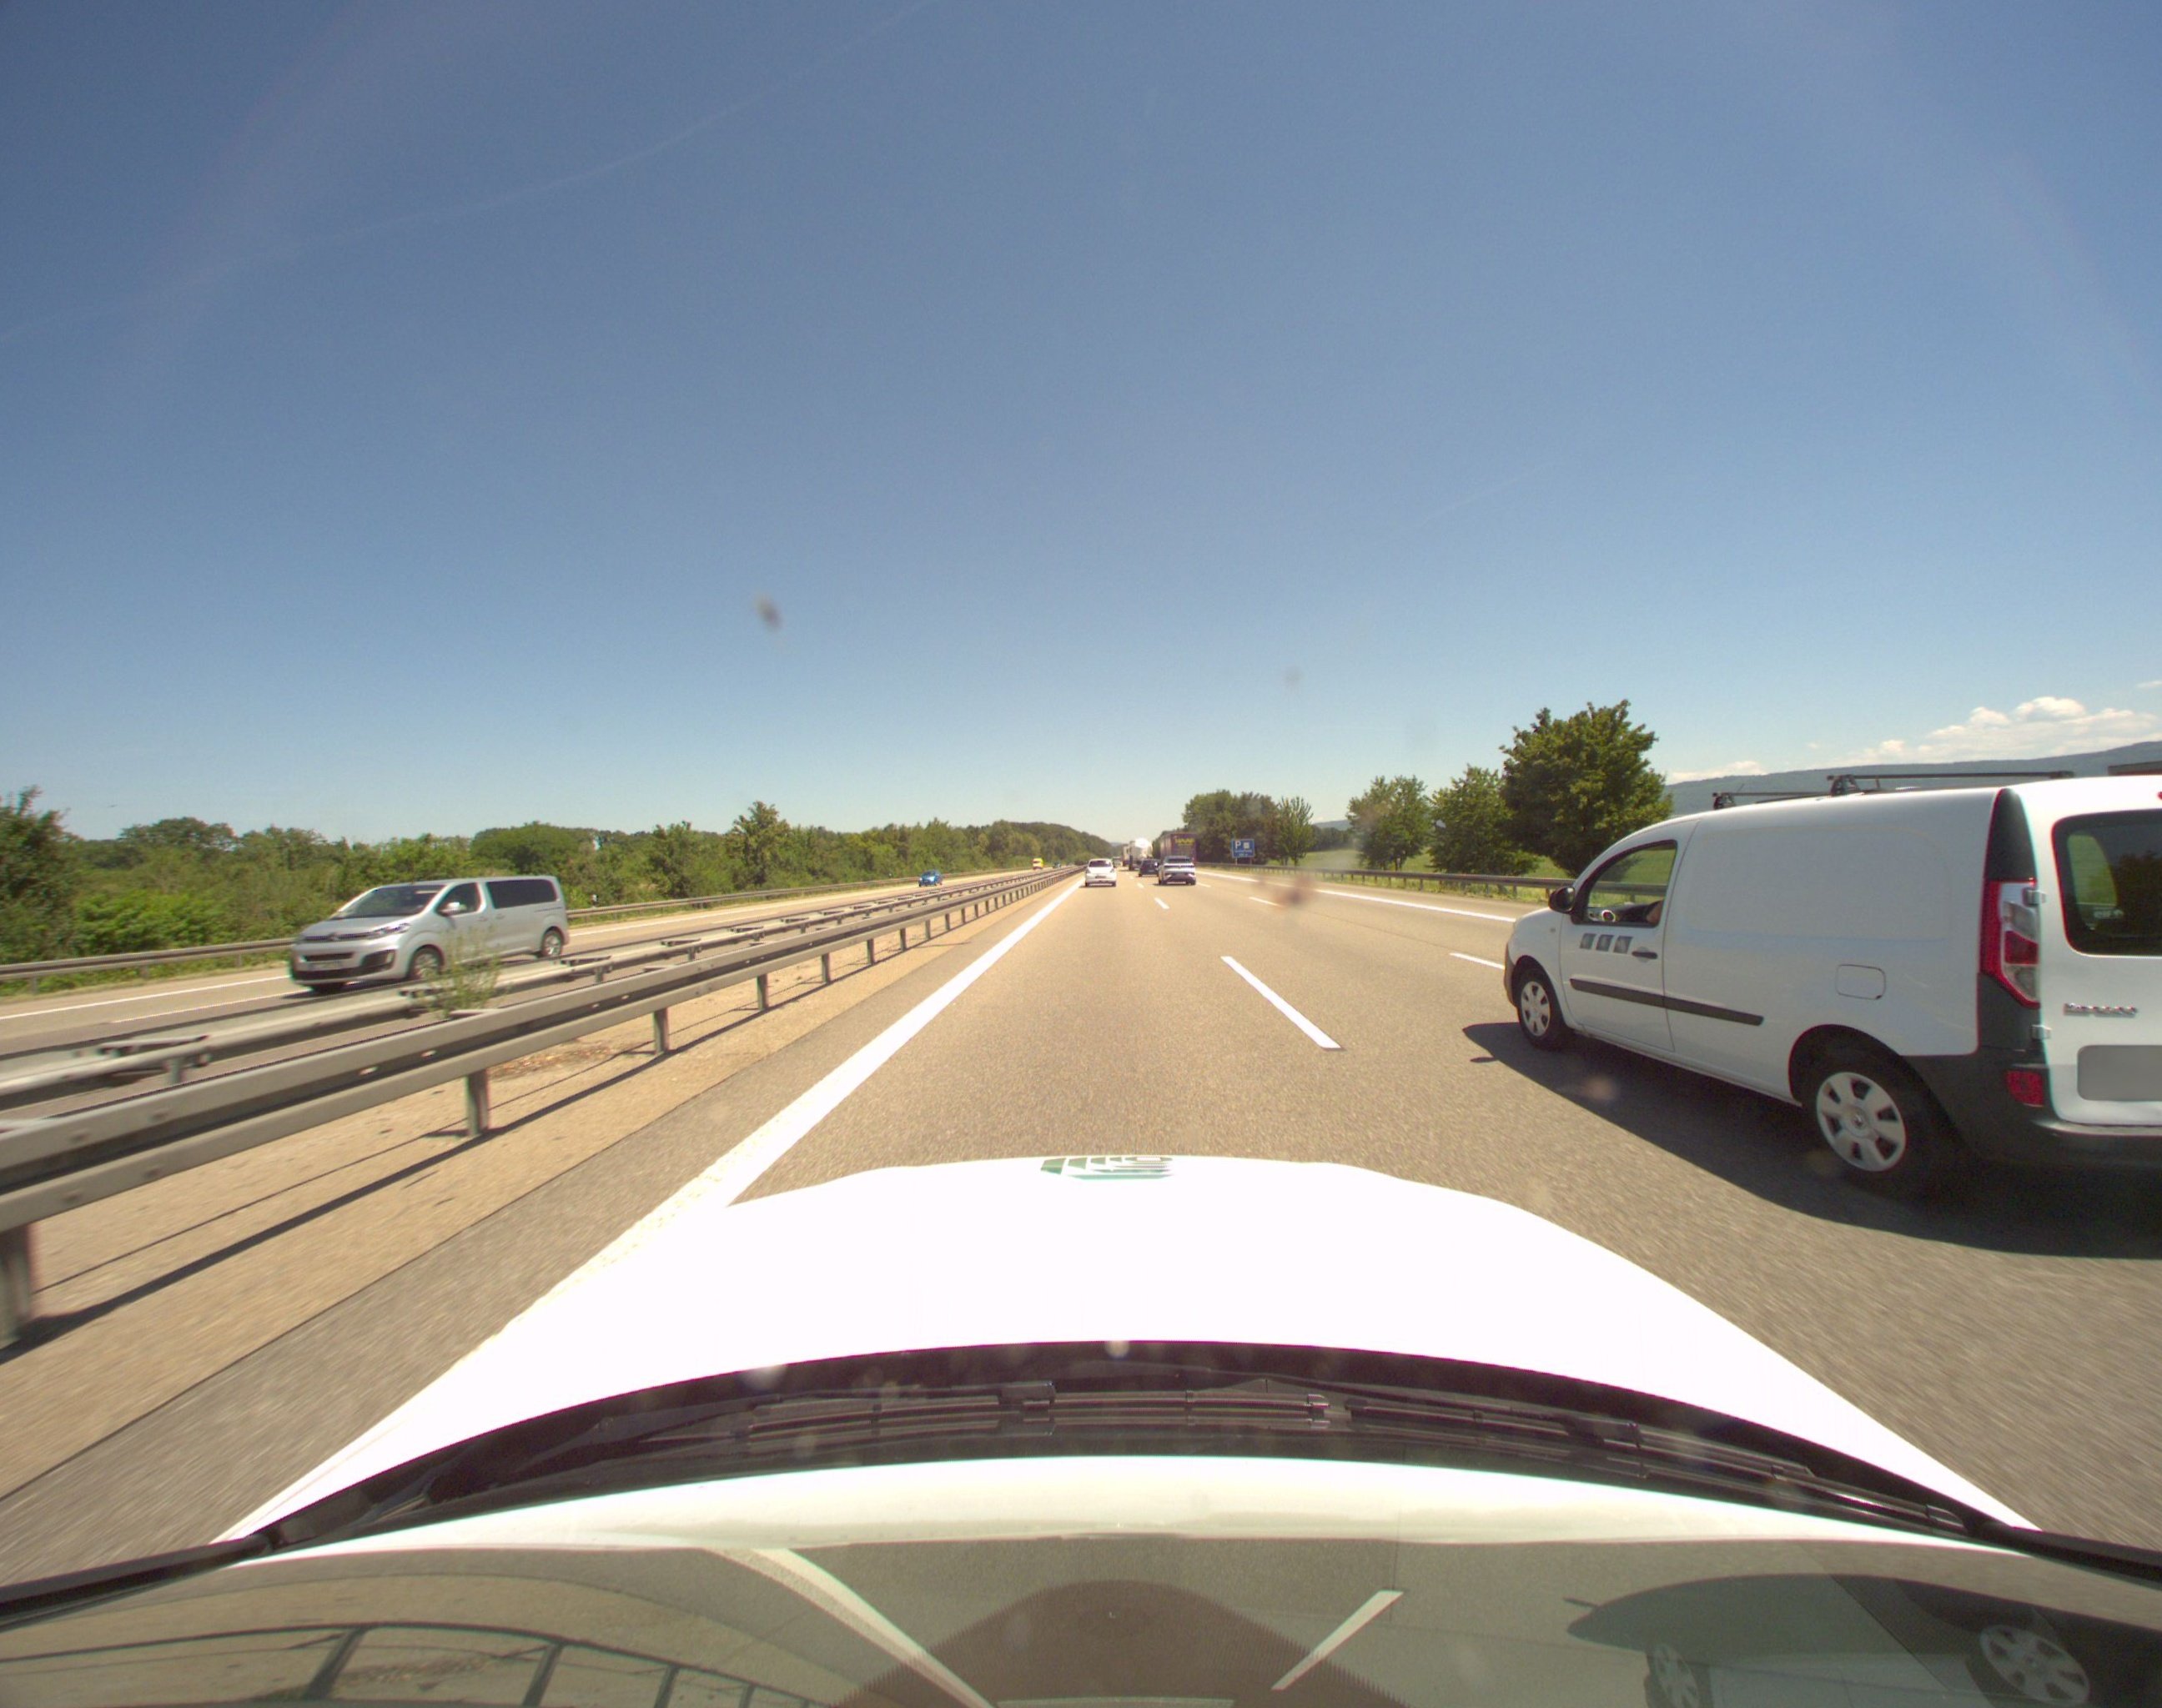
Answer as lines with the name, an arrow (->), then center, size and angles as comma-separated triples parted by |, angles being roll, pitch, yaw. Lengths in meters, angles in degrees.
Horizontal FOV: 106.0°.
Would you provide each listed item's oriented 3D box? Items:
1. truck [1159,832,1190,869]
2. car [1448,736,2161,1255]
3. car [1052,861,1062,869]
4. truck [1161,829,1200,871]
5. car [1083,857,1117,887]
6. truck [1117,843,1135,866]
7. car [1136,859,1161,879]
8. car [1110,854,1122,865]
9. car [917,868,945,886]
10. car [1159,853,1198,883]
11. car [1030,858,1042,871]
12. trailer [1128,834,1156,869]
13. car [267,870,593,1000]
truck -> 11.072, -0.382, 96.991 | 3.096, 4.139, 8.062 | -1, 0, 3
car -> 4.342, 0.512, 5.291 | 1.847, 1.863, 4.702 | -1, 0, 1
car -> -5.530, 2.432, 188.154 | 1.861, 1.690, 4.628 | -4, 0, 2
truck -> 10.720, -0.384, 89.078 | 3.096, 4.139, 15.522 | -1, 0, 3
car -> 1.067, 0.961, 44.849 | 1.793, 1.552, 3.611 | -1, 0, 1
truck -> 8.578, 0.133, 155.940 | 3.380, 4.214, 12.091 | -1, 0, 3
car -> 5.489, 1.186, 66.498 | 1.843, 1.523, 3.959 | -1, 0, 2
car -> 7.991, 1.240, 185.629 | 2.465, 2.354, 5.185 | -1, 0, 3
car -> -13.741, 2.079, 74.566 | 1.557, 1.424, 3.476 | -4, -1, 5
car -> 5.391, 0.761, 45.658 | 1.795, 1.603, 4.382 | -1, 0, 2
car -> -10.459, 2.394, 189.570 | 2.157, 2.779, 5.802 | -4, 0, 2
trailer -> 7.485, -0.279, 100.772 | 2.900, 4.069, 12.422 | -1, 0, 2
car -> -12.355, 1.394, 16.098 | 2.034, 1.924, 5.228 | -4, 0, 1
